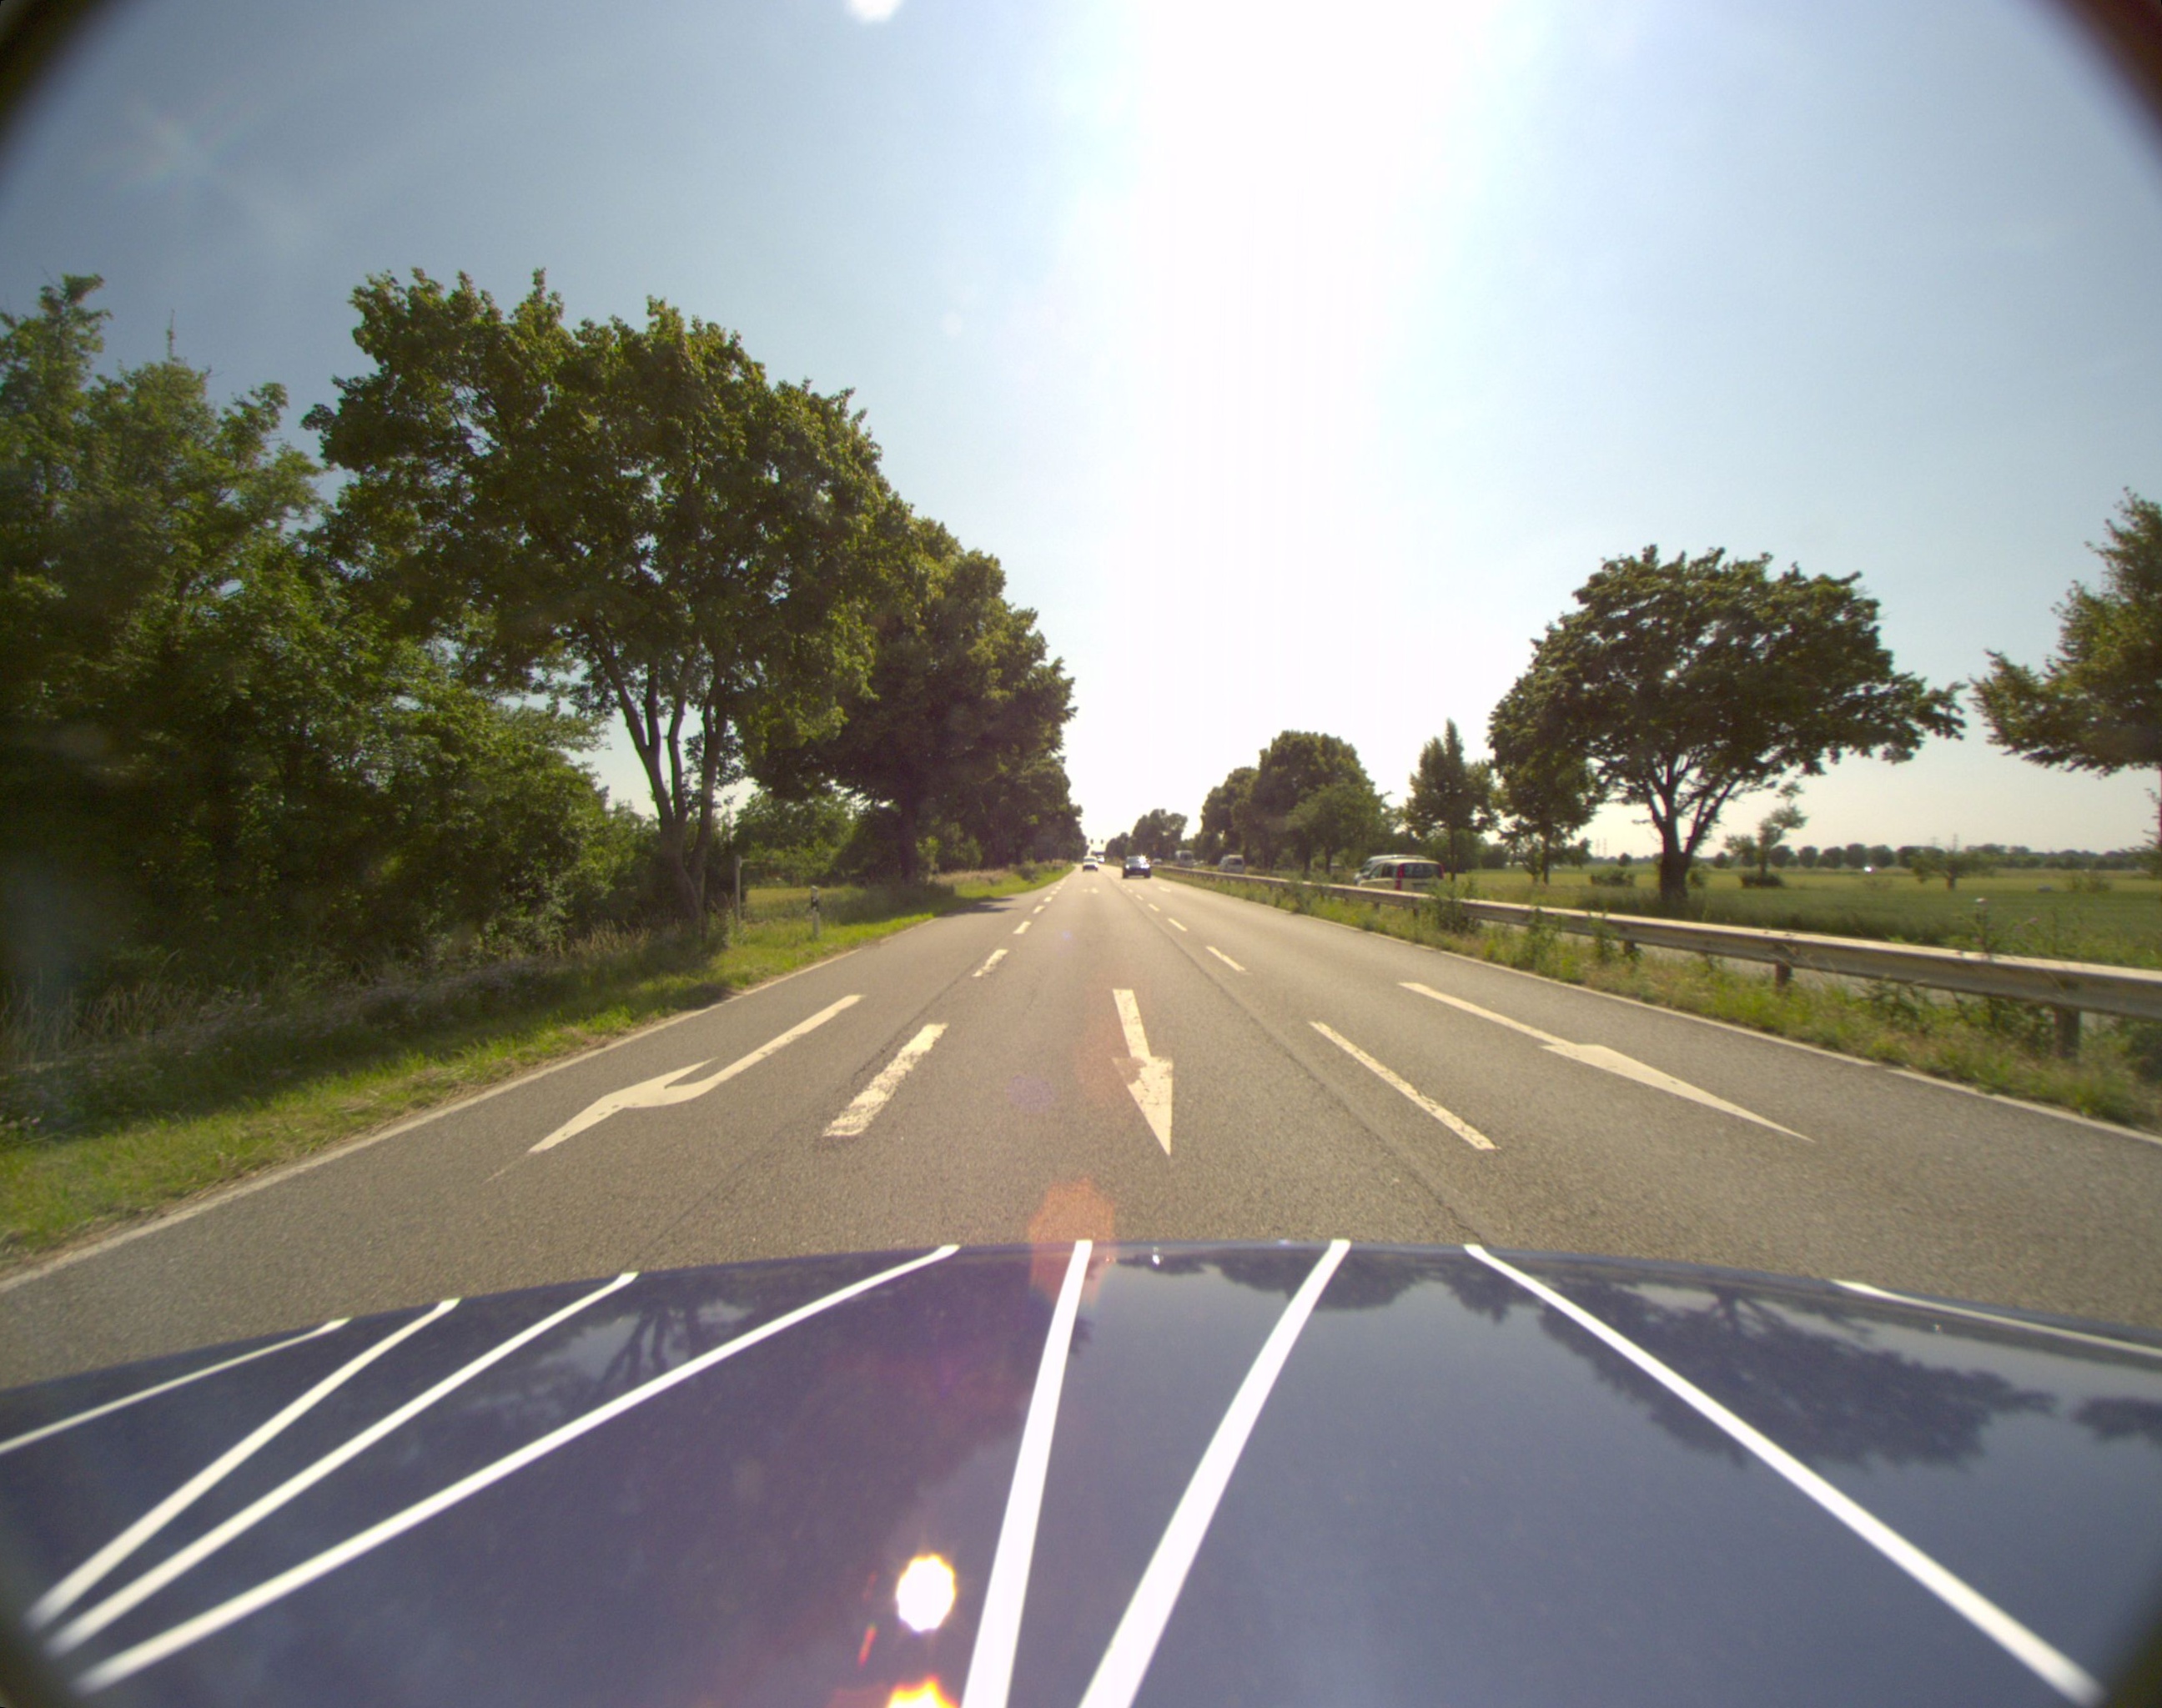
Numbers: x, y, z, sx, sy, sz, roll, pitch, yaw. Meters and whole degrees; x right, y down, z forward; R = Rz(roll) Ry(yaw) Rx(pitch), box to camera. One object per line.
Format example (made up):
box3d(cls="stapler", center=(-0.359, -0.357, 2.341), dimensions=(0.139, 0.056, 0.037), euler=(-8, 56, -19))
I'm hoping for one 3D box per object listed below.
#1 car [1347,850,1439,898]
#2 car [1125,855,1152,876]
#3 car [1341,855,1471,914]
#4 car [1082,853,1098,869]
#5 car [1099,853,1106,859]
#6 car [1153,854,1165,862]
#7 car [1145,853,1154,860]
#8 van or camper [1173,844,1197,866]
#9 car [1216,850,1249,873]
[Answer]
box3d(cls="car", center=(13.460, 0.786, 33.143), dimensions=(1.998, 1.949, 4.927), euler=(0, 0, 0))
box3d(cls="car", center=(4.230, 0.842, 56.709), dimensions=(1.860, 1.507, 4.100), euler=(-1, 0, 2))
box3d(cls="car", center=(9.555, 0.827, 22.791), dimensions=(1.998, 1.548, 4.480), euler=(-1, 0, 0))
box3d(cls="car", center=(1.085, 0.814, 89.456), dimensions=(1.777, 1.863, 4.581), euler=(0, 0, 0))
box3d(cls="car", center=(5.988, 0.625, 215.398), dimensions=(1.886, 1.775, 4.000), euler=(0, 0, 0))
box3d(cls="car", center=(15.246, 0.749, 148.662), dimensions=(1.960, 1.581, 4.865), euler=(0, 0, 0))
box3d(cls="car", center=(15.842, 0.650, 175.445), dimensions=(1.765, 1.581, 3.894), euler=(0, 0, 0))
box3d(cls="van or camper", center=(14.335, 0.188, 105.144), dimensions=(2.391, 2.931, 7.091), euler=(0, 0, 1))
box3d(cls="car", center=(13.696, 0.689, 68.818), dimensions=(2.043, 2.002, 4.532), euler=(0, 0, 0))
